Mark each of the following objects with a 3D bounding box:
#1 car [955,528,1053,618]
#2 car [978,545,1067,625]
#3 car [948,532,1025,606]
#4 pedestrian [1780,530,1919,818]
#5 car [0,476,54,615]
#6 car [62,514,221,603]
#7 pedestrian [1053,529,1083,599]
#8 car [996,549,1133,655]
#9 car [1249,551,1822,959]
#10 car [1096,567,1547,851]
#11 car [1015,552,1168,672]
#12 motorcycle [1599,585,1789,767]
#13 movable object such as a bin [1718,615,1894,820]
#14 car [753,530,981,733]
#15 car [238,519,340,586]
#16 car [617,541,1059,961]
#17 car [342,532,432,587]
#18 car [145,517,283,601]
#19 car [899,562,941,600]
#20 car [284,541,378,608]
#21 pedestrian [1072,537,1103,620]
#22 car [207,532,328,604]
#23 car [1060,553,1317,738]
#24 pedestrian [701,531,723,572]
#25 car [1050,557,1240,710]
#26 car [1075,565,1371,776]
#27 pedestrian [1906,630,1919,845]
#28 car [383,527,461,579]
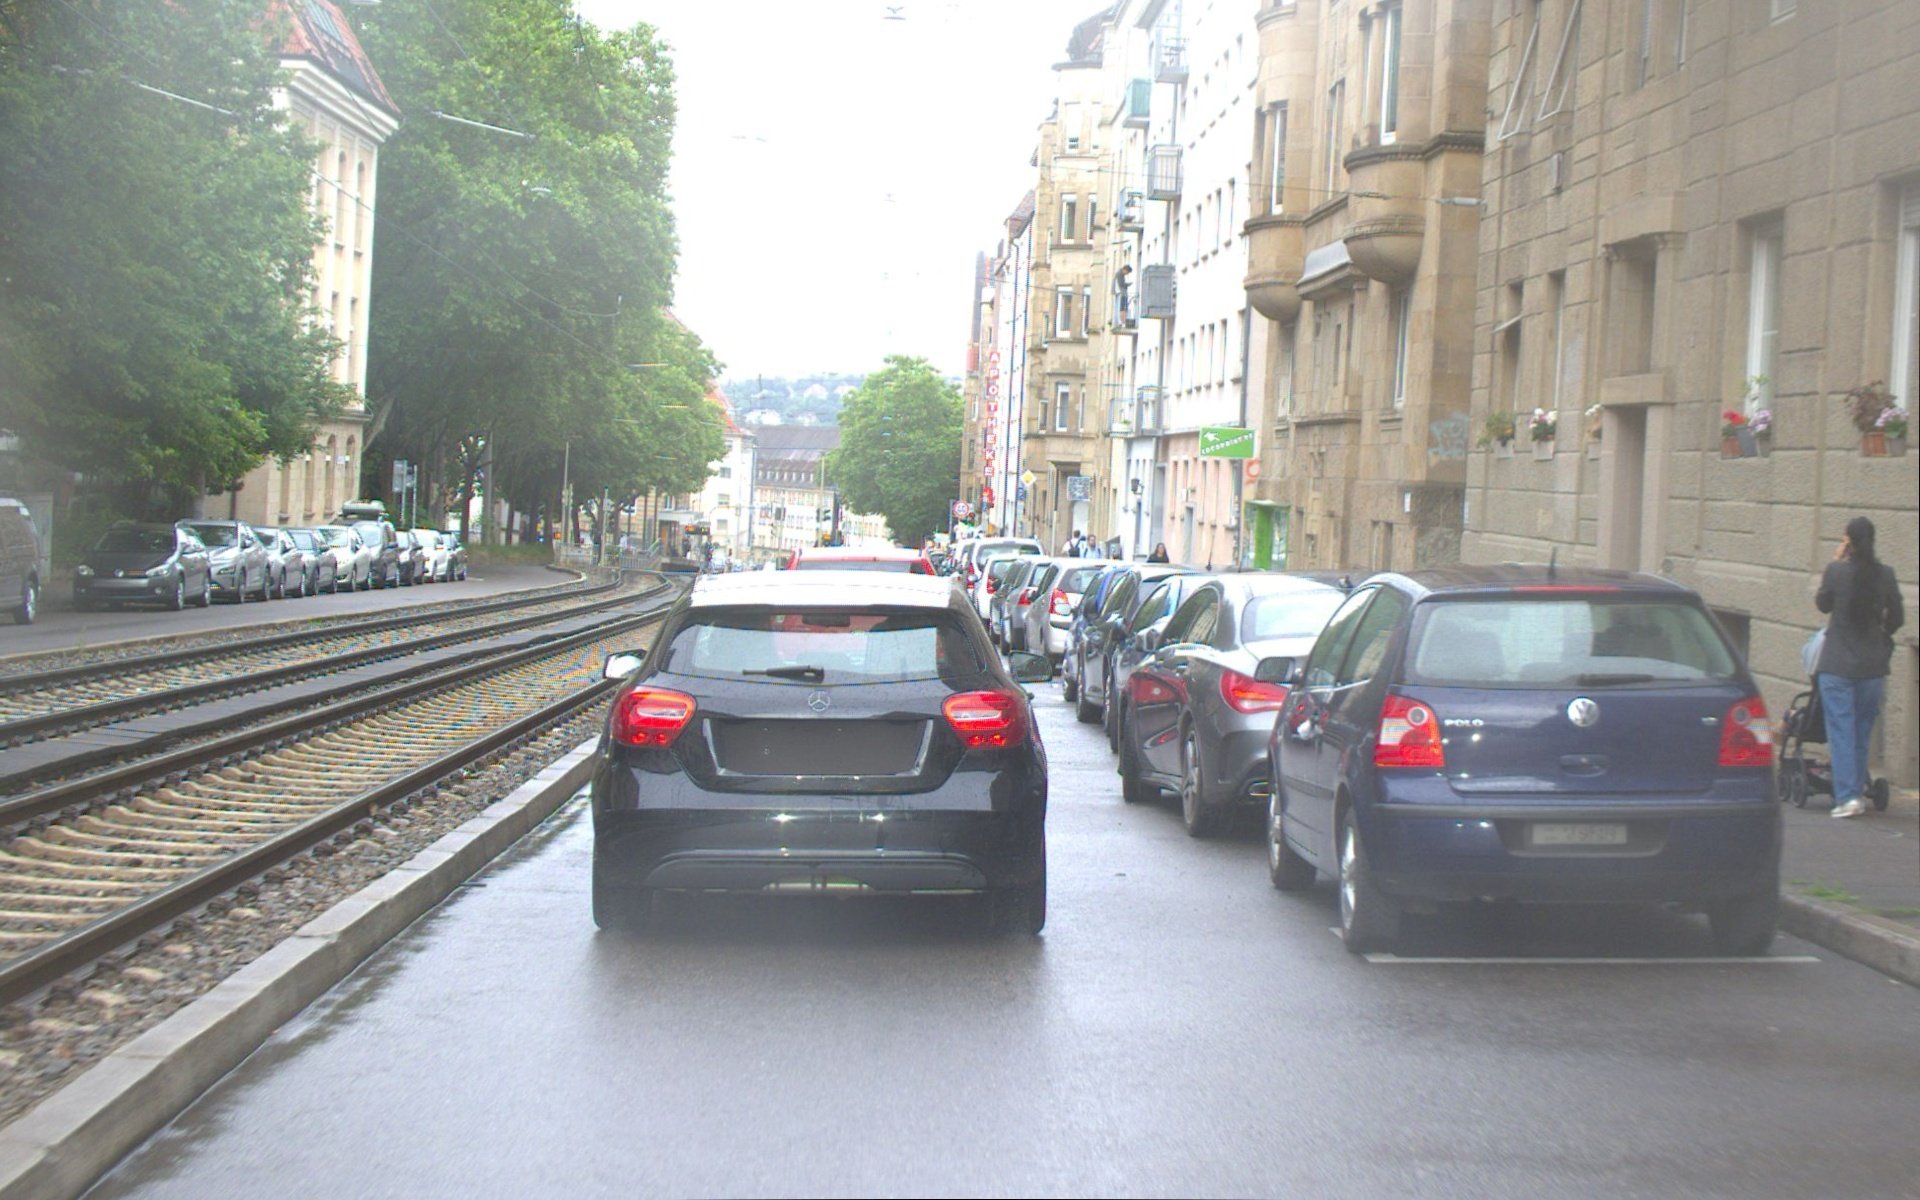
[{"bbox_3d":[0.871,-0.582,70.410,1.790,1.759,4.212,1,1,-2],"label":"car"},{"bbox_3d":[1.176,-0.310,66.181,1.570,1.457,3.600,1,1,-1],"label":"car"},{"bbox_3d":[0.656,-0.793,85.450,1.828,1.744,4.467,2,1,0],"label":"car"},{"bbox_3d":[4.895,0.394,18.862,0.561,1.530,0.710,2,1,-1],"label":"pedestrian"},{"bbox_3d":[-13.634,-0.743,46.061,1.800,1.840,4.819,1,1,-1],"label":"car"},{"bbox_3d":[-13.951,-0.730,58.811,1.849,1.459,4.551,0,1,-3],"label":"car"},{"bbox_3d":[2.844,-0.965,90.766,0.746,1.827,1.039,0,1,0],"label":"pedestrian"},{"bbox_3d":[1.467,-0.004,49.616,1.667,1.429,3.957,1,1,-2],"label":"car"},{"bbox_3d":[2.219,0.529,14.204,1.671,1.439,3.790,0,1,-1],"label":"car"},{"bbox_3d":[1.915,0.528,19.568,1.754,1.382,4.486,0,1,-5],"label":"car"},{"bbox_3d":[1.654,0.125,44.285,1.590,1.429,3.685,1,1,-3],"label":"car"},{"bbox_3d":[5.298,0.518,24.996,0.705,1.194,2.746,2,1,-1],"label":"motorcycle"},{"bbox_3d":[4.857,0.661,19.804,0.665,1.099,1.124,2,1,-1],"label":"movable object such as a bin"},{"bbox_3d":[-0.789,0.223,29.653,1.785,1.575,4.000,2,1,-1],"label":"car"},{"bbox_3d":[-14.420,-1.033,74.021,1.539,1.409,3.953,0,1,-2],"label":"car"},{"bbox_3d":[-0.502,0.528,14.461,1.580,1.499,3.575,2,1,-2],"label":"car"},{"bbox_3d":[-14.873,-1.067,89.396,1.675,1.409,4.010,0,1,0],"label":"car"},{"bbox_3d":[-13.984,-0.786,64.651,1.754,1.531,4.543,0,1,-2],"label":"car"},{"bbox_3d":[-1.784,-0.856,151.277,1.827,1.612,3.864,0,1,-1],"label":"car"},{"bbox_3d":[-14.366,-0.607,78.705,1.539,1.500,4.155,0,1,-2],"label":"car"},{"bbox_3d":[2.710,-0.467,72.947,0.607,1.757,0.688,0,1,-2],"label":"pedestrian"},{"bbox_3d":[-14.000,-0.665,69.730,1.754,1.409,4.154,0,1,-2],"label":"car"},{"bbox_3d":[1.945,0.349,30.393,1.787,1.457,4.084,2,1,-3],"label":"car"},{"bbox_3d":[-9.813,-1.920,136.246,0.806,1.628,0.892,0,1,-1],"label":"pedestrian"},{"bbox_3d":[1.819,0.304,34.727,1.543,1.410,3.447,2,1,-3],"label":"car"},{"bbox_3d":[1.899,0.470,25.937,1.706,1.393,4.019,2,1,-3],"label":"car"},{"bbox_3d":[4.959,0.684,16.698,0.510,1.046,0.627,2,1,-1],"label":"pedestrian"},{"bbox_3d":[-14.722,-1.295,94.230,1.500,1.386,3.987,0,1,0],"label":"car"}]
